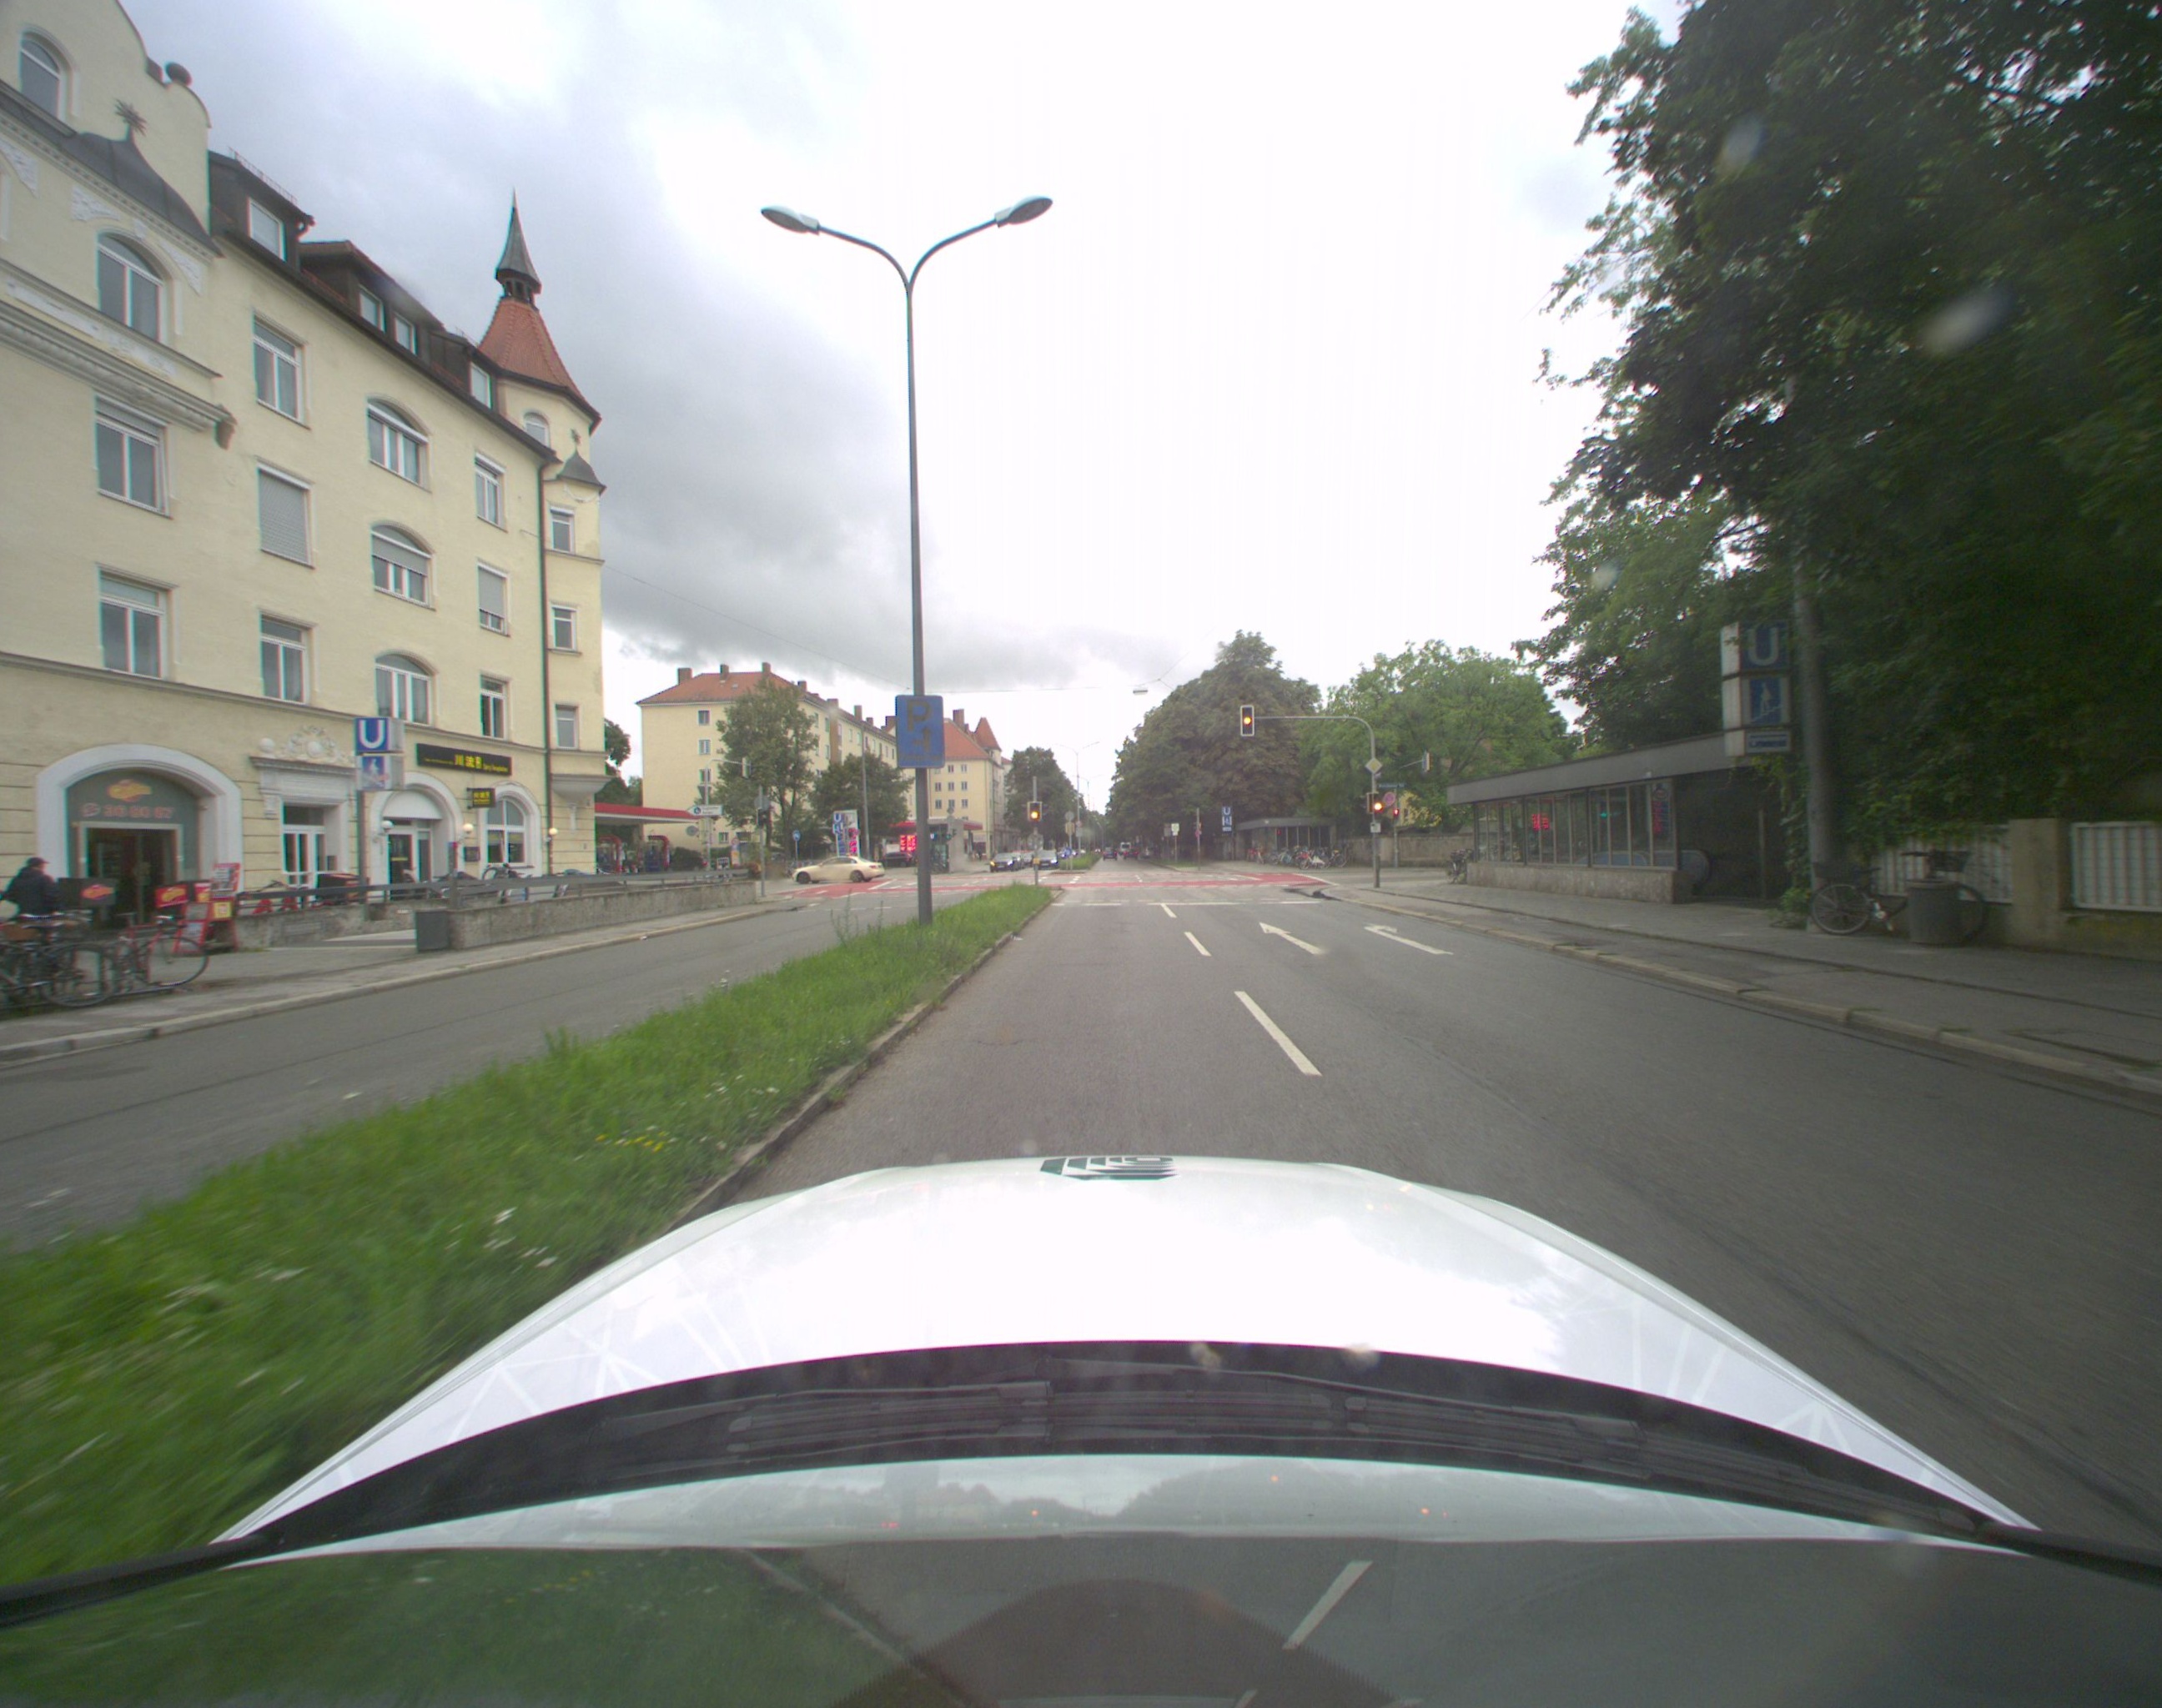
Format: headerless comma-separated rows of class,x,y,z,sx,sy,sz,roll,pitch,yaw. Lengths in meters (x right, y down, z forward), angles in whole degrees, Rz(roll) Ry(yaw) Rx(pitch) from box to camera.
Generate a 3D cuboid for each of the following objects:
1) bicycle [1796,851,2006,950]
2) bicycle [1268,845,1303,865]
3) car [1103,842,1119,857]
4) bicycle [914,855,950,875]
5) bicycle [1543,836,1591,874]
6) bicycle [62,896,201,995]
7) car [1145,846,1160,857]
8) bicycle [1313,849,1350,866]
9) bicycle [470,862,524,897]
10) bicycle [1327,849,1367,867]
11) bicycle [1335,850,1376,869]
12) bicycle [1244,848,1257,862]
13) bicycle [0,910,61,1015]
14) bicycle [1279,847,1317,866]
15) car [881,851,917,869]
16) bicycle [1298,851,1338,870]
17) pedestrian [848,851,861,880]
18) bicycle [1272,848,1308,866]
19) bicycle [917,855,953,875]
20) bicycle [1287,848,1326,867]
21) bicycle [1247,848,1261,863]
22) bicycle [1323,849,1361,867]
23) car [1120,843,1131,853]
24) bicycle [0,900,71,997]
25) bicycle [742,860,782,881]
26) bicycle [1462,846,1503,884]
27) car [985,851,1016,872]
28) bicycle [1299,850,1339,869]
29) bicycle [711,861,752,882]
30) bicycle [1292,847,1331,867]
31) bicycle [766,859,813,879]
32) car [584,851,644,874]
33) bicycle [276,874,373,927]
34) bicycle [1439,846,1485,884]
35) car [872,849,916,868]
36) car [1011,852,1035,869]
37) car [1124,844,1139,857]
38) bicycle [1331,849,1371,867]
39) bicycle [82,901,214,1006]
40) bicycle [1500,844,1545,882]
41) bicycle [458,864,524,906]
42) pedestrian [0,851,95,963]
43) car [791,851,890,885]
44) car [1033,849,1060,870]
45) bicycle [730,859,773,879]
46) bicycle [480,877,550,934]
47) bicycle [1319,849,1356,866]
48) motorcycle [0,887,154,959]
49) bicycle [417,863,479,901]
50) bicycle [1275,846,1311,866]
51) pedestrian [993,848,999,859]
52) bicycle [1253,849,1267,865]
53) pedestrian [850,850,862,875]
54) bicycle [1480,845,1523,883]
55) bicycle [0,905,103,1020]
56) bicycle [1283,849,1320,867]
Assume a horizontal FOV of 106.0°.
bicycle,10.127,0.517,10.184,0.620,1.090,2.027,-2,0,2
bicycle,13.220,0.041,52.757,2.130,1.218,0.604,-1,0,10
car,3.552,-0.590,97.452,1.850,1.684,4.002,-2,0,2
bicycle,-10.015,0.738,54.854,2.262,1.304,0.705,-2,0,3
bicycle,15.020,0.035,25.212,0.467,1.121,1.736,-1,0,3
bicycle,-12.721,1.180,10.977,0.397,1.115,1.801,-2,0,-21
car,9.562,-0.355,108.983,1.736,1.363,3.808,-2,0,2
bicycle,15.908,0.232,51.758,2.130,1.014,0.636,-1,0,10
bicycle,-17.987,0.771,25.120,0.471,0.980,1.546,-1,0,2
bicycle,15.862,0.233,48.596,2.130,1.014,0.636,-1,0,10
bicycle,15.849,0.332,47.030,2.130,1.014,0.636,-1,0,10
bicycle,12.752,0.069,61.342,0.555,1.014,2.015,-1,0,0
bicycle,-12.123,1.228,8.946,0.330,1.115,1.669,-2,0,-21
bicycle,13.236,0.162,49.713,2.130,1.086,0.604,-1,0,10
car,-22.148,0.698,99.105,3.977,2.013,1.890,-1,0,-3
bicycle,13.430,0.344,46.176,2.130,1.014,0.604,-1,0,10
pedestrian,-13.763,0.690,49.521,0.531,1.695,0.579,-1,0,10
bicycle,13.131,0.177,51.157,2.130,1.062,0.604,-1,0,10
bicycle,-9.960,0.746,55.633,2.275,1.304,0.694,-2,0,3
bicycle,13.349,0.210,48.264,2.130,1.101,0.604,-1,0,10
bicycle,12.301,0.078,58.038,0.555,1.014,2.015,-1,0,0
bicycle,15.812,0.231,49.392,2.130,1.014,0.636,-1,0,10
car,8.713,-1.157,159.220,1.986,1.756,4.002,-2,0,2
bicycle,-13.277,1.176,9.893,0.397,1.115,1.801,-2,0,-21
bicycle,-19.928,1.026,50.977,2.180,1.236,0.763,-2,0,-10
bicycle,12.451,0.327,25.293,0.467,1.121,1.736,-1,0,3
car,-6.051,0.557,61.329,1.753,1.460,4.002,-2,0,2
bicycle,13.653,0.325,46.794,2.130,1.014,0.636,-1,0,10
bicycle,-21.862,1.089,50.946,2.178,1.236,0.764,-2,0,-8
bicycle,13.460,0.184,47.605,2.130,1.071,0.604,-1,0,10
bicycle,-18.610,0.950,52.020,2.719,1.251,0.786,0,0,-29
car,-39.422,0.692,68.776,3.972,1.784,1.858,-2,0,1
bicycle,-15.556,0.937,16.790,0.471,0.980,1.546,-1,0,2
bicycle,11.798,0.347,25.295,0.597,1.121,1.891,-1,0,2
car,-18.861,0.439,82.172,3.975,1.837,1.880,-1,0,-1
car,-5.363,0.546,75.952,1.753,1.460,4.002,-2,0,2
car,6.683,-0.420,108.534,1.915,1.684,4.002,0,0,2
bicycle,15.826,0.232,47.829,2.130,1.014,0.636,-1,0,10
bicycle,-11.678,1.195,10.256,0.330,1.115,1.669,-2,0,-21
bicycle,13.669,0.263,25.256,0.467,1.121,1.736,-1,0,3
bicycle,-15.039,0.775,20.810,0.471,0.980,1.546,-1,0,2
pedestrian,-16.434,0.809,12.943,0.594,1.697,0.938,-2,0,-25
car,-13.025,0.747,44.276,4.748,1.646,1.785,-1,0,1
car,-2.645,0.384,62.916,1.753,1.493,4.002,-2,0,2
bicycle,-20.908,0.935,51.645,2.393,1.251,0.789,0,0,-9
bicycle,-12.265,1.087,17.706,0.395,1.115,1.810,-1,0,-6
bicycle,15.789,0.229,50.179,2.130,1.014,0.636,-1,0,10
motorcycle,-17.911,1.197,14.395,0.602,1.122,1.999,-1,0,42
bicycle,-17.717,0.769,22.837,0.471,0.980,1.546,-1,0,2
bicycle,13.132,0.109,50.455,2.130,1.178,0.604,-1,0,10
pedestrian,-12.654,-0.044,121.281,0.693,1.638,0.738,-1,0,2
bicycle,12.144,0.190,55.307,0.555,1.014,2.015,-1,0,0
pedestrian,-15.279,0.580,55.329,0.593,1.695,0.572,-2,0,-29
bicycle,13.028,0.298,25.281,0.467,1.121,1.736,-1,0,3
bicycle,-11.725,1.183,9.009,0.368,1.115,1.669,-2,0,-21
bicycle,13.249,0.235,48.983,2.130,1.014,0.604,-1,0,10
